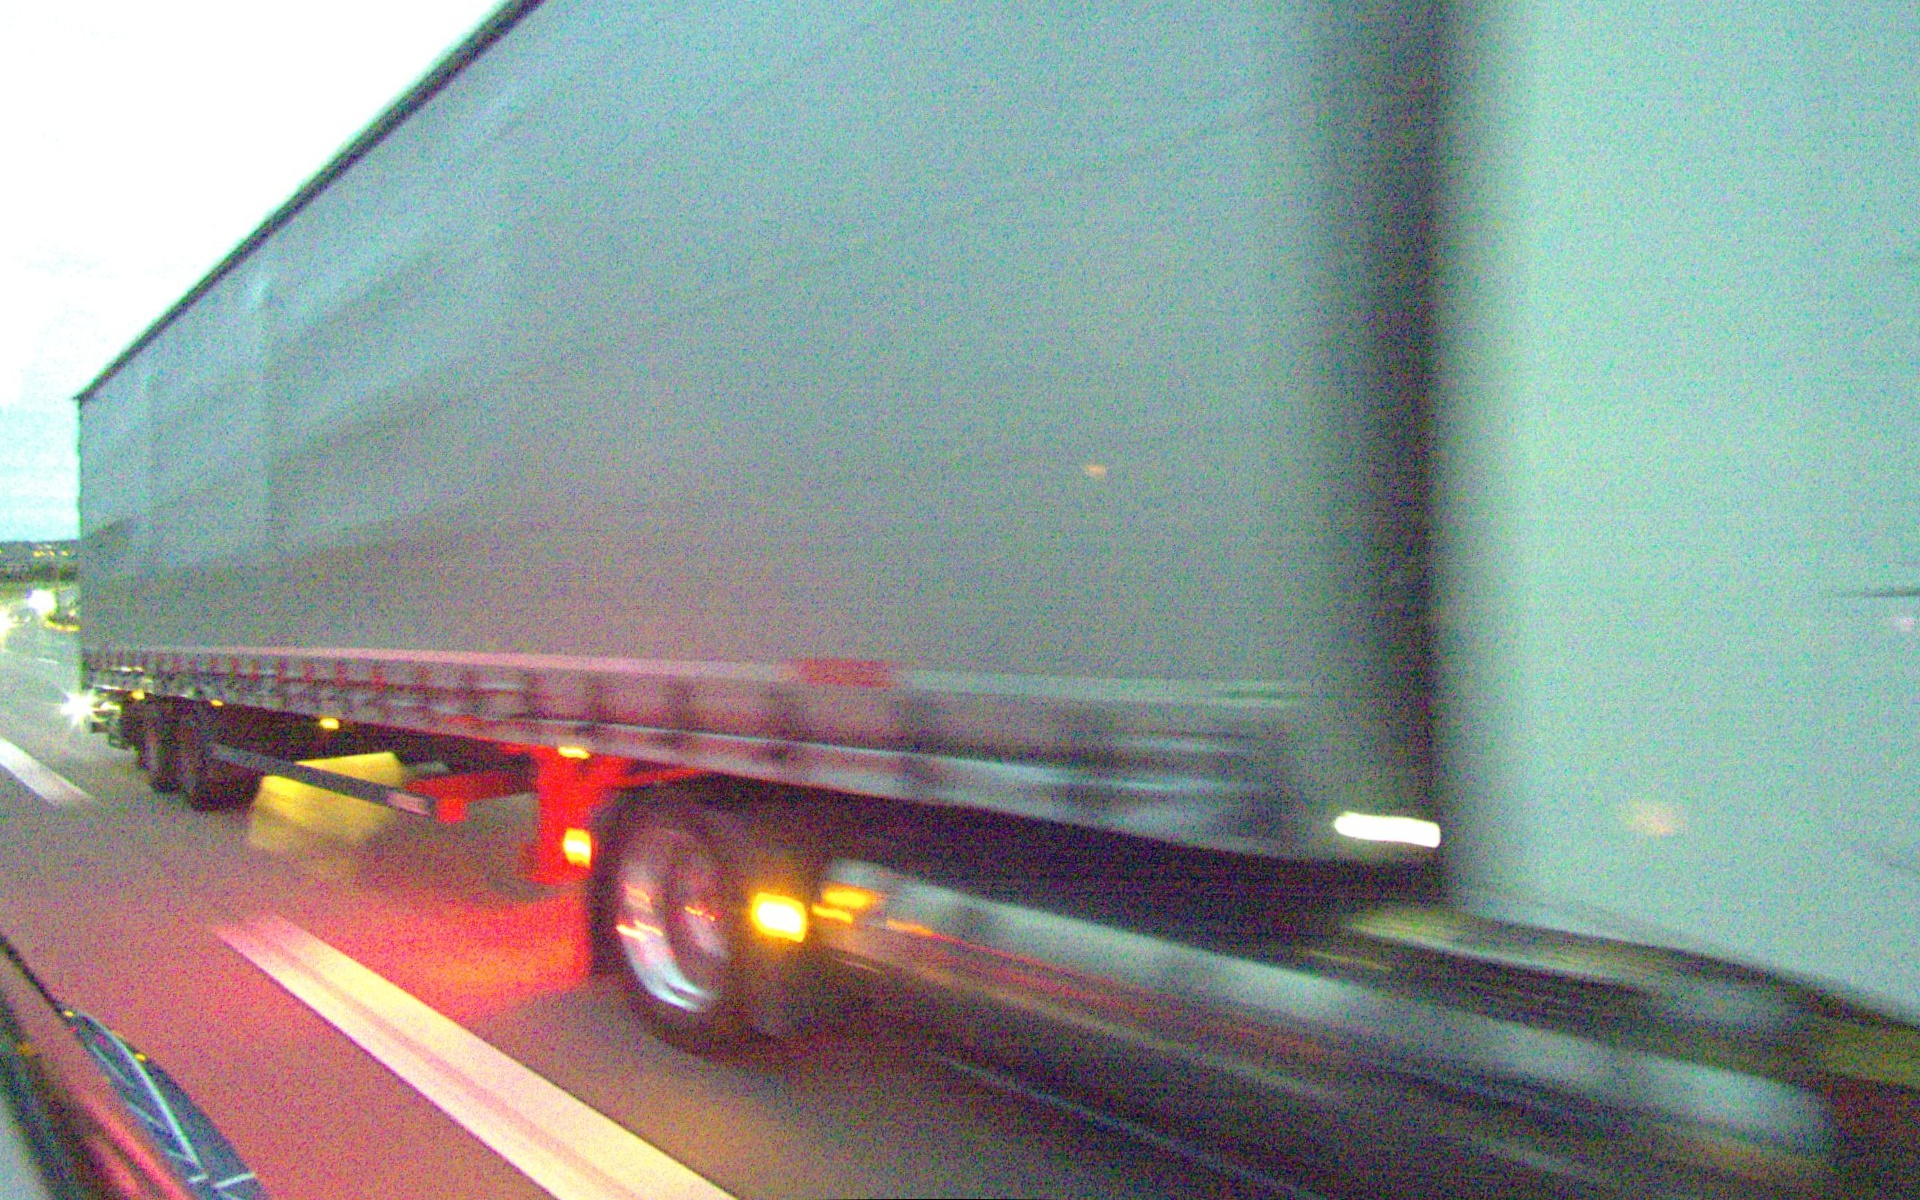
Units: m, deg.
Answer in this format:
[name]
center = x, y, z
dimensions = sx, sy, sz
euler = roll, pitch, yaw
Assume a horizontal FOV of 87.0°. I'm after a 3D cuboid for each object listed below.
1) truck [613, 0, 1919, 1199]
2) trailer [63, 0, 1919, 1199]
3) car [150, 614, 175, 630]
[truck]
center = 2.068, -0.505, 2.340
dimensions = 6.152, 3.931, 2.750
euler = -1, -1, 41
[trailer]
center = -3.235, -0.373, 7.031
dimensions = 14.813, 3.945, 2.745
euler = -1, -1, 42
[car]
center = -100.024, 2.782, 126.909
dimensions = 4.002, 2.029, 1.971
euler = -1, -2, 45
